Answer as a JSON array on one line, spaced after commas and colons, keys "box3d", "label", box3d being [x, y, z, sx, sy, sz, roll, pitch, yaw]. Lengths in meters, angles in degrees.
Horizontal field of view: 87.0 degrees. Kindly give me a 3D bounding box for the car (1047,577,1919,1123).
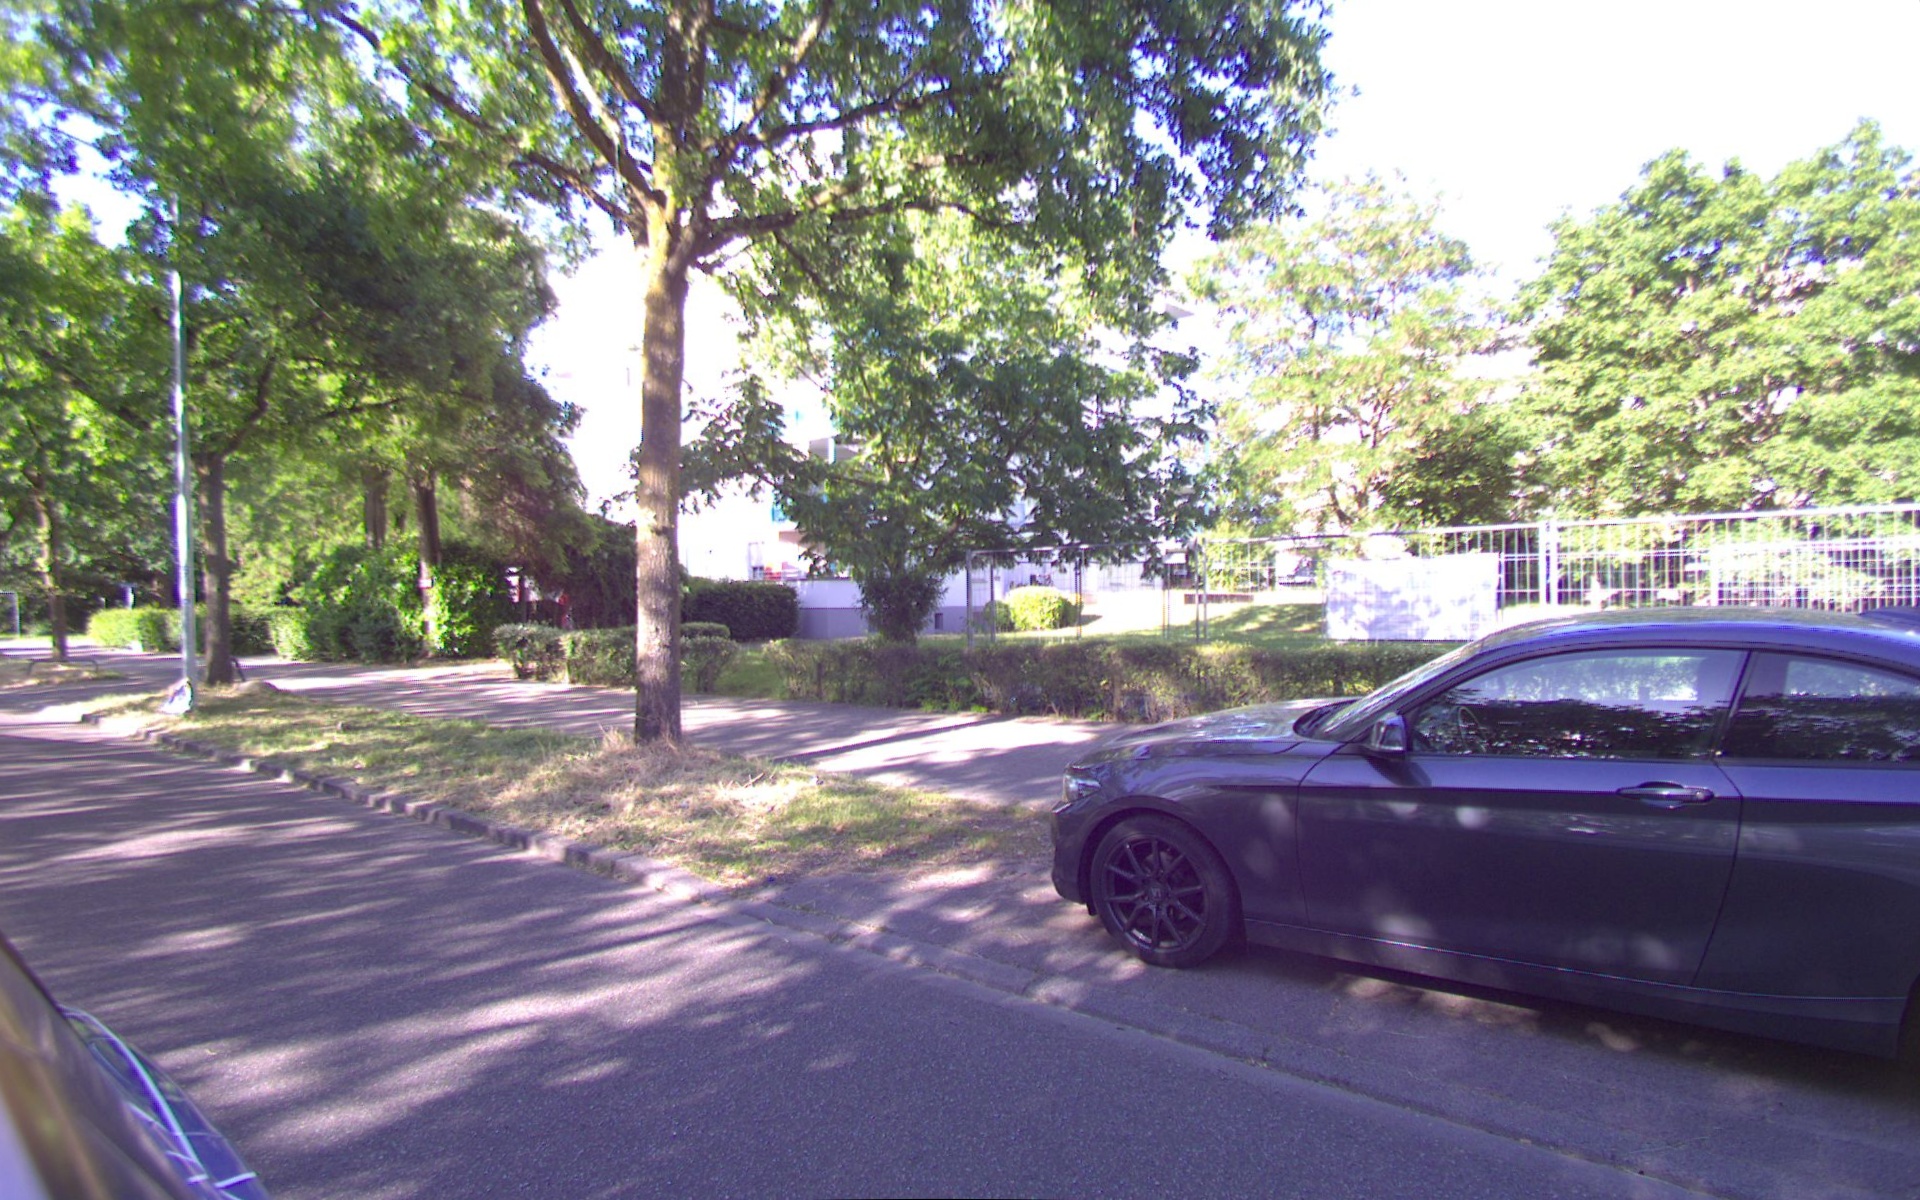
[{"box3d": [2.548, 0.680, 3.819, 4.130, 1.443, 1.700, -1, 1, 37], "label": "car"}]
